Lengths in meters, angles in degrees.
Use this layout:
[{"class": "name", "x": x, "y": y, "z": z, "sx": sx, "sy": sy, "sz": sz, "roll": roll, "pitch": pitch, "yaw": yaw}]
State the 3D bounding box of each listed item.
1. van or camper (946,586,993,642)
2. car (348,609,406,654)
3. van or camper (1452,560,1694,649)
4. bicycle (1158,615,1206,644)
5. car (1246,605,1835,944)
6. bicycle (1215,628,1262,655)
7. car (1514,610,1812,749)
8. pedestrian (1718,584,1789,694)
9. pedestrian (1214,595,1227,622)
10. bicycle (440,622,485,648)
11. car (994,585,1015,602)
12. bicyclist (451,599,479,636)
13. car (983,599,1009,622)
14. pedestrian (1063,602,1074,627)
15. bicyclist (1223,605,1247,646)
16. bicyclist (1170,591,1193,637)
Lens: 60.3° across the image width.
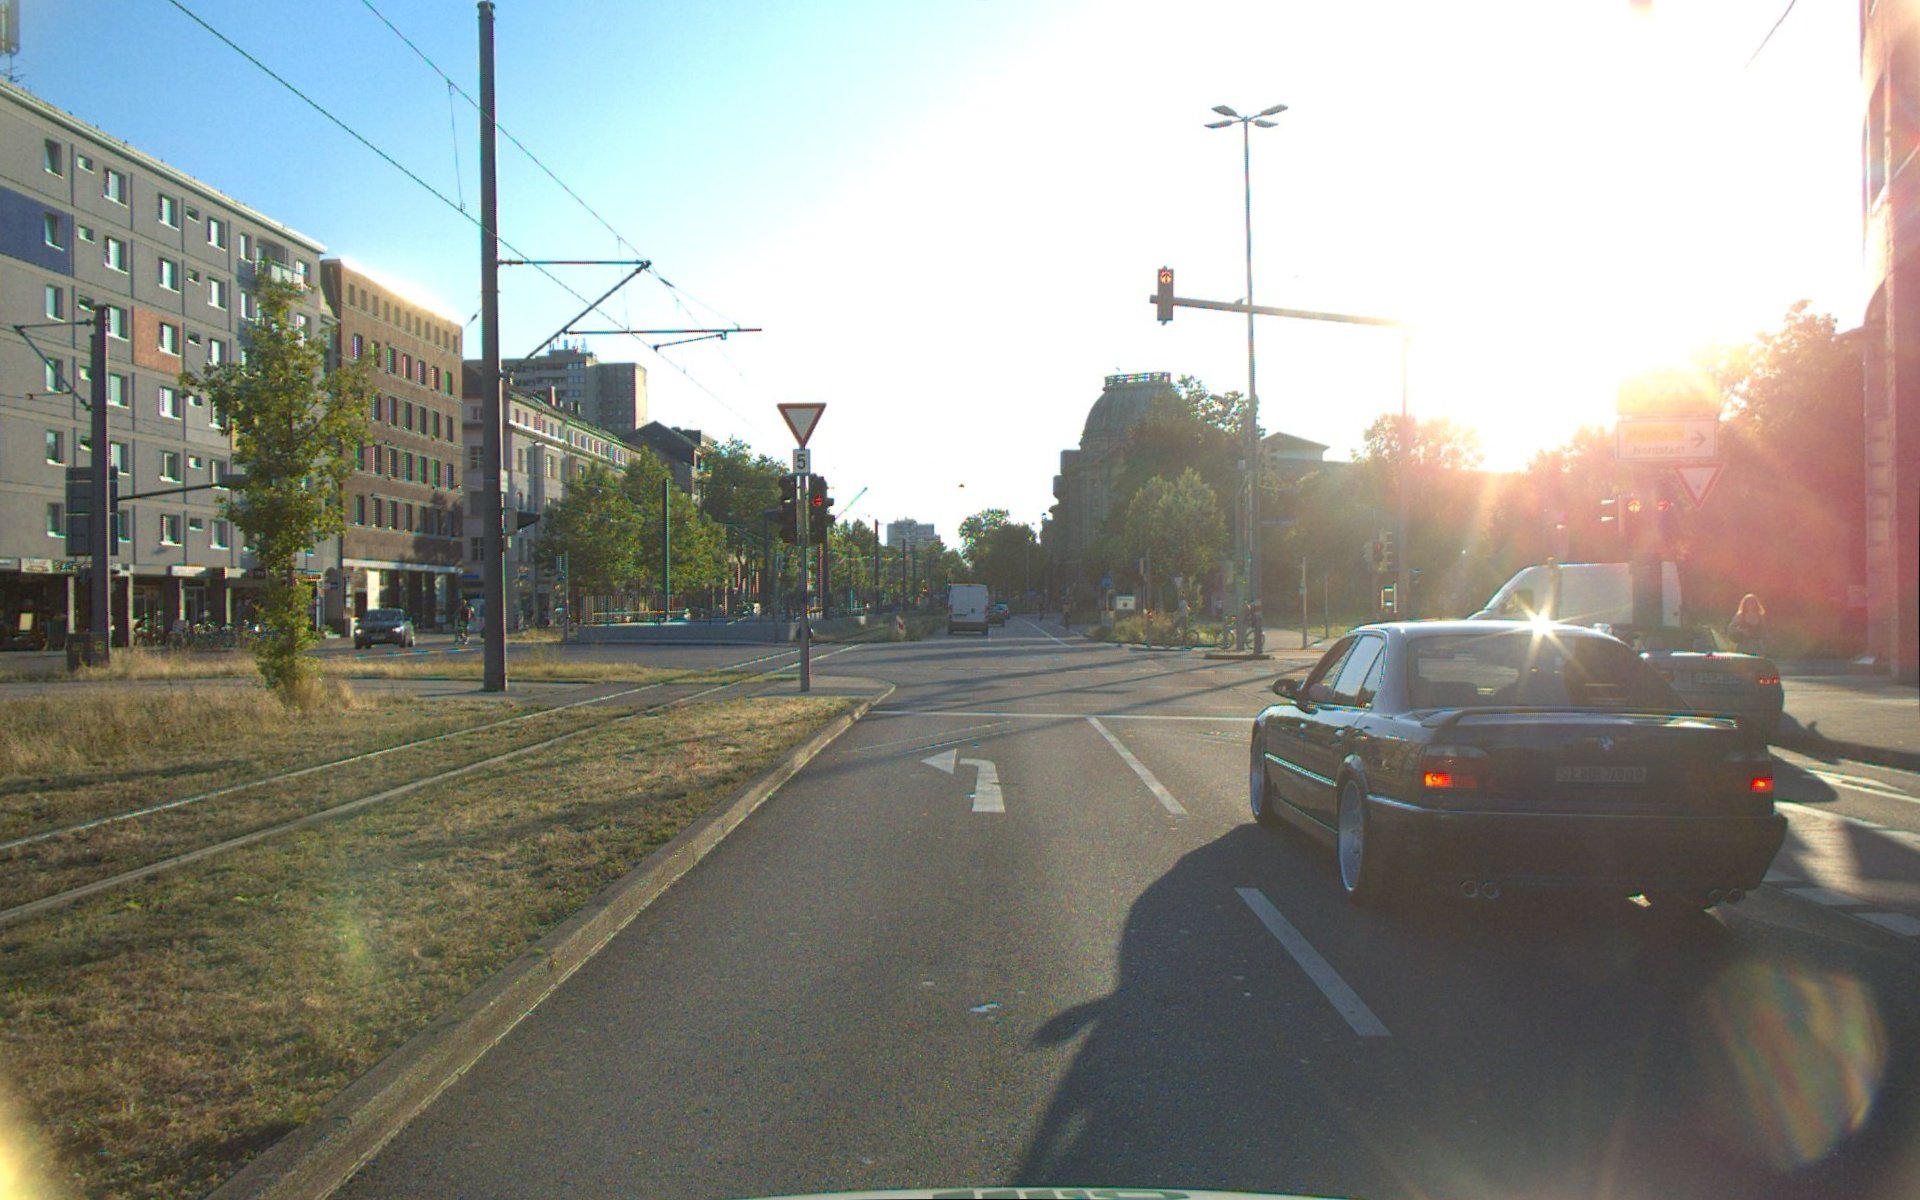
[{"class": "van or camper", "x": 0.528, "y": 0.680, "z": 83.620, "sx": 2.216, "sy": 2.670, "sz": 4.504, "roll": -1, "pitch": 1, "yaw": 2}, {"class": "car", "x": -21.100, "y": 1.116, "z": 59.820, "sx": 1.690, "sy": 1.459, "sz": 3.971, "roll": 0, "pitch": 1, "yaw": -24}, {"class": "van or camper", "x": 19.759, "y": 0.125, "z": 53.627, "sx": 6.895, "sy": 2.721, "sz": 2.600, "roll": -1, "pitch": 1, "yaw": 3}, {"class": "bicycle", "x": 7.943, "y": 1.054, "z": 59.267, "sx": 1.692, "sy": 0.987, "sz": 0.610, "roll": 0, "pitch": 1, "yaw": 4}, {"class": "car", "x": 2.897, "y": 0.755, "z": 9.432, "sx": 1.792, "sy": 1.378, "sz": 4.642, "roll": 0, "pitch": 1, "yaw": 1}, {"class": "bicycle", "x": 10.277, "y": 1.531, "z": 61.019, "sx": 1.681, "sy": 0.987, "sz": 0.610, "roll": 0, "pitch": 1, "yaw": 10}, {"class": "car", "x": 8.143, "y": 0.857, "z": 19.613, "sx": 1.747, "sy": 1.378, "sz": 4.267, "roll": 0, "pitch": 1, "yaw": 0}, {"class": "pedestrian", "x": 11.877, "y": 0.575, "z": 24.767, "sx": 0.663, "sy": 1.597, "sz": 0.800, "roll": -1, "pitch": 1, "yaw": -1}, {"class": "pedestrian", "x": 15.905, "y": 0.508, "z": 101.076, "sx": 0.668, "sy": 1.639, "sz": 0.613, "roll": -1, "pitch": 1, "yaw": 1}, {"class": "bicycle", "x": -20.006, "y": 1.402, "z": 66.543, "sx": 0.688, "sy": 0.987, "sz": 1.732, "roll": 3, "pitch": 1, "yaw": 26}, {"class": "car", "x": 4.315, "y": -0.616, "z": 160.064, "sx": 1.758, "sy": 1.593, "sz": 3.998, "roll": -1, "pitch": 1, "yaw": -3}, {"class": "bicyclist", "x": -19.939, "y": 0.706, "z": 66.650, "sx": 0.648, "sy": 1.467, "sz": 0.855, "roll": 2, "pitch": 1, "yaw": 26}, {"class": "car", "x": 2.441, "y": 0.699, "z": 110.723, "sx": 1.701, "sy": 1.410, "sz": 4.001, "roll": -1, "pitch": 1, "yaw": 2}, {"class": "pedestrian", "x": 6.660, "y": 0.885, "z": 101.727, "sx": 0.603, "sy": 1.501, "sz": 0.801, "roll": -1, "pitch": 1, "yaw": 5}, {"class": "bicyclist", "x": 10.144, "y": 0.929, "z": 61.028, "sx": 0.835, "sy": 1.467, "sz": 0.664, "roll": -1, "pitch": 1, "yaw": 10}, {"class": "bicyclist", "x": 7.940, "y": 0.492, "z": 59.263, "sx": 0.781, "sy": 1.599, "sz": 0.663, "roll": -1, "pitch": 1, "yaw": 4}]
